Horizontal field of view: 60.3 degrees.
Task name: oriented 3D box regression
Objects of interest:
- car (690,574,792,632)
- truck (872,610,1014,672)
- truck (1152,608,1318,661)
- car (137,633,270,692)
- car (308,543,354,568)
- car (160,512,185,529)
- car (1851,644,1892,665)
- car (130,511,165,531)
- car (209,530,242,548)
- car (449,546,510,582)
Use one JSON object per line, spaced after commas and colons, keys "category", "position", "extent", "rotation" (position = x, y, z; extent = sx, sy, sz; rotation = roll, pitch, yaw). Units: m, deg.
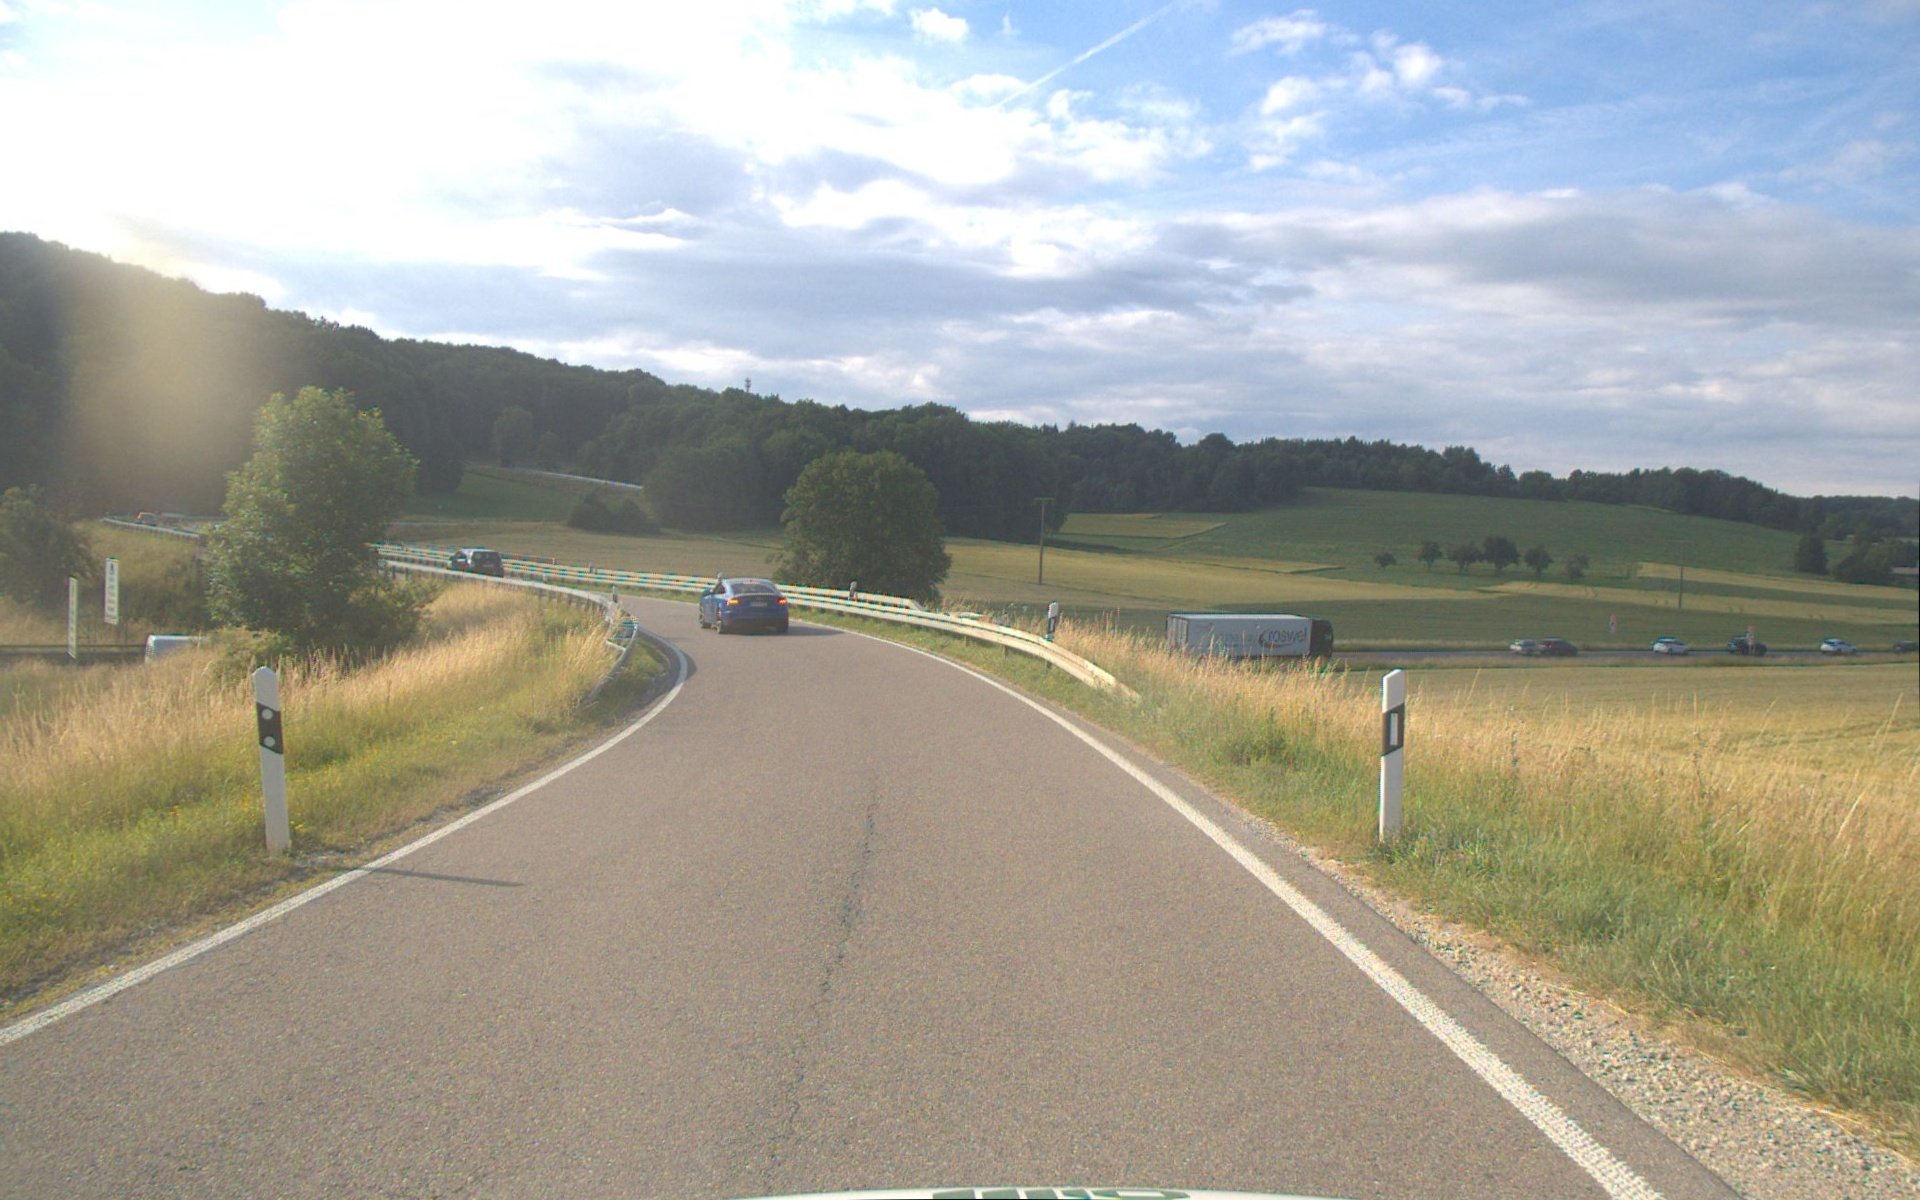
{"category": "car", "position": [-5.846, 0.046, 43.699], "extent": [1.792, 1.362, 4.325], "rotation": [-1, 2, -20]}
{"category": "truck", "position": [-1.127, 2.839, 116.998], "extent": [9.696, 4.131, 3.788], "rotation": [1, 0, -37]}
{"category": "truck", "position": [22.120, 2.713, 132.312], "extent": [14.248, 4.067, 4.032], "rotation": [0, -1, -34]}
{"category": "car", "position": [-39.834, 3.243, 87.126], "extent": [6.050, 2.627, 2.348], "rotation": [0, 7, -34]}
{"category": "car", "position": [-39.102, -2.768, 102.778], "extent": [1.670, 1.400, 3.948], "rotation": [1, 2, -37]}
{"category": "car", "position": [-89.321, -8.984, 187.629], "extent": [1.976, 1.802, 3.954], "rotation": [-3, 3, -33]}
{"category": "car", "position": [93.366, 5.576, 169.382], "extent": [3.945, 2.049, 1.980], "rotation": [0, -1, -30]}
{"category": "car", "position": [-76.732, -7.461, 156.231], "extent": [1.981, 1.708, 4.119], "rotation": [4, 0, -40]}
{"category": "car", "position": [-53.541, -4.460, 120.577], "extent": [1.460, 1.248, 3.256], "rotation": [1, 1, -37]}
{"category": "car", "position": [-22.810, -1.717, 78.465], "extent": [1.843, 1.596, 3.959], "rotation": [1, 1, -31]}
